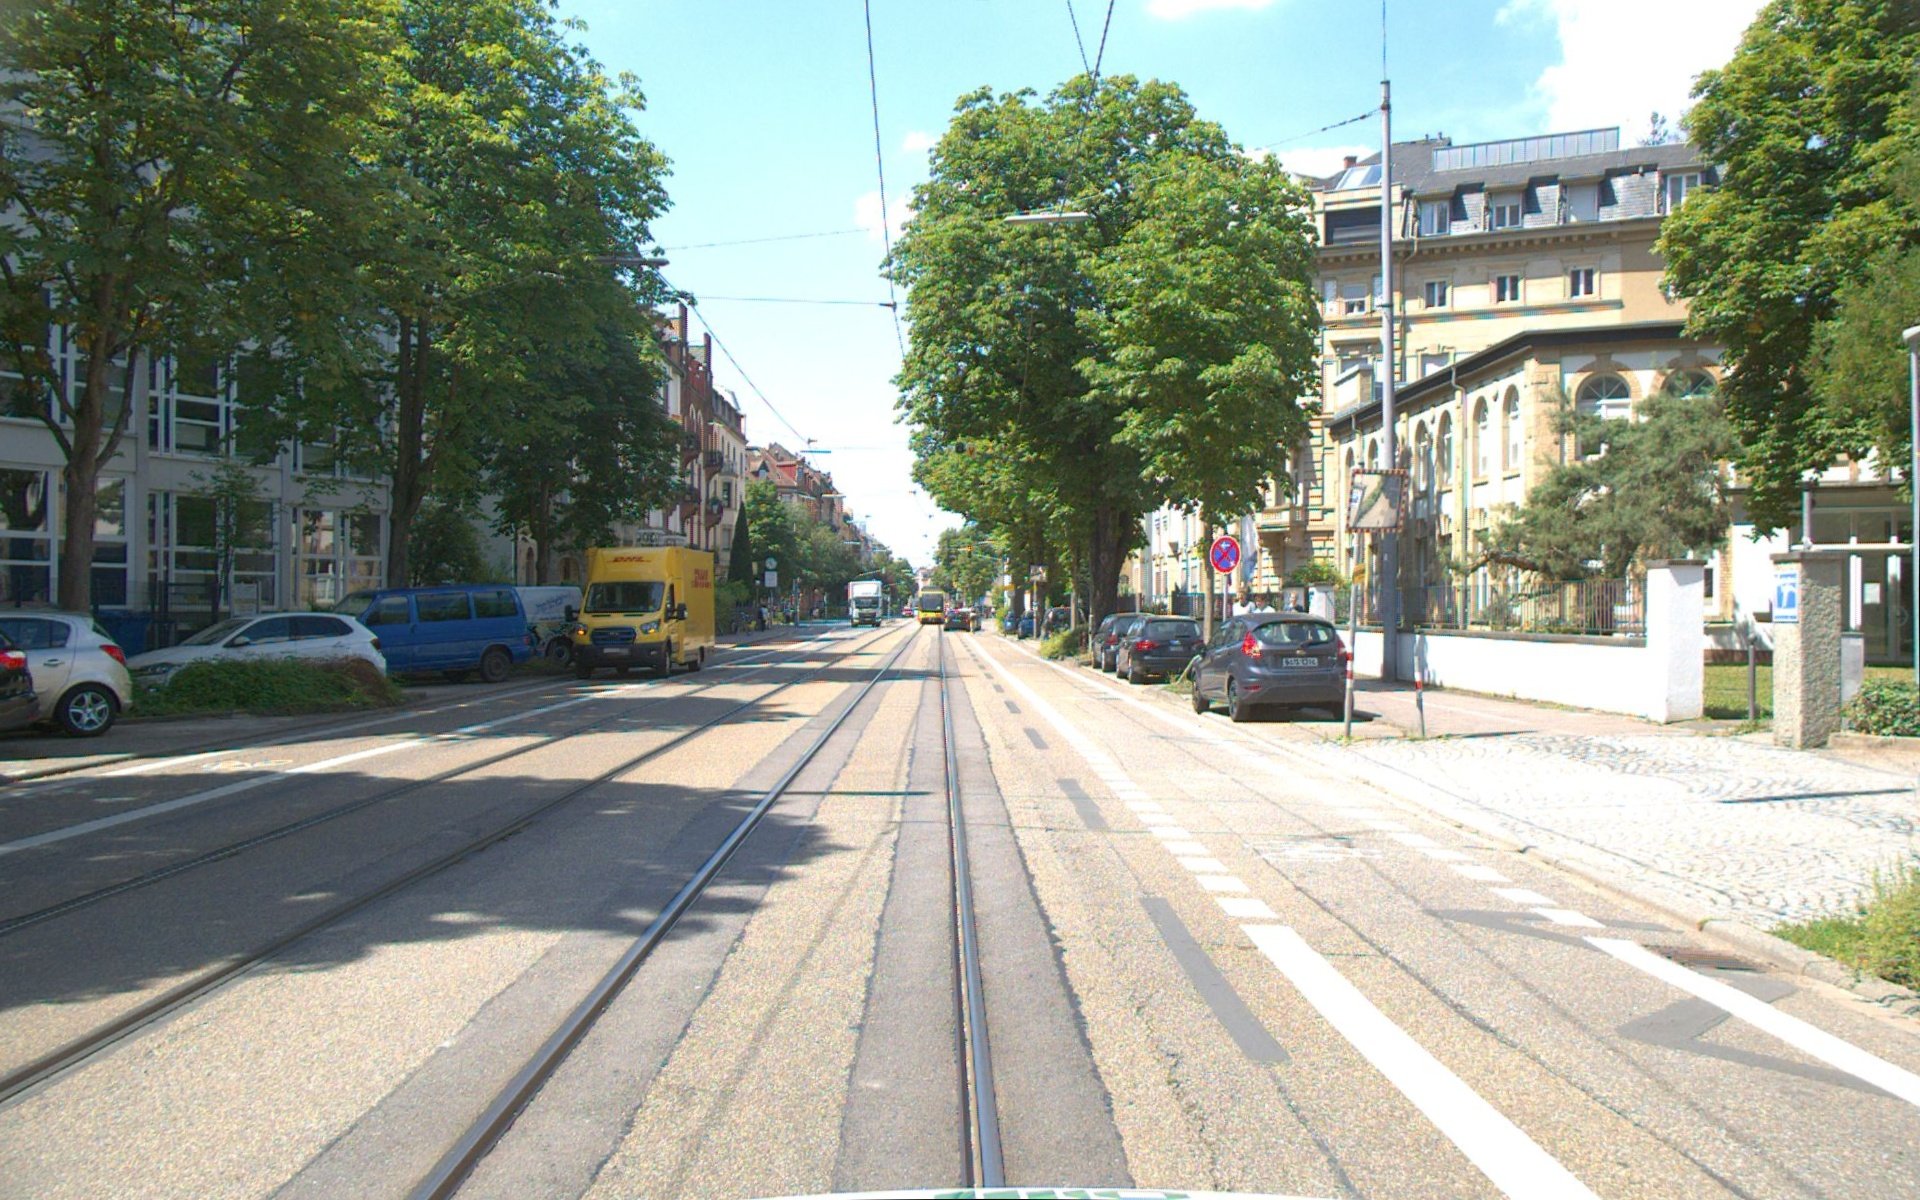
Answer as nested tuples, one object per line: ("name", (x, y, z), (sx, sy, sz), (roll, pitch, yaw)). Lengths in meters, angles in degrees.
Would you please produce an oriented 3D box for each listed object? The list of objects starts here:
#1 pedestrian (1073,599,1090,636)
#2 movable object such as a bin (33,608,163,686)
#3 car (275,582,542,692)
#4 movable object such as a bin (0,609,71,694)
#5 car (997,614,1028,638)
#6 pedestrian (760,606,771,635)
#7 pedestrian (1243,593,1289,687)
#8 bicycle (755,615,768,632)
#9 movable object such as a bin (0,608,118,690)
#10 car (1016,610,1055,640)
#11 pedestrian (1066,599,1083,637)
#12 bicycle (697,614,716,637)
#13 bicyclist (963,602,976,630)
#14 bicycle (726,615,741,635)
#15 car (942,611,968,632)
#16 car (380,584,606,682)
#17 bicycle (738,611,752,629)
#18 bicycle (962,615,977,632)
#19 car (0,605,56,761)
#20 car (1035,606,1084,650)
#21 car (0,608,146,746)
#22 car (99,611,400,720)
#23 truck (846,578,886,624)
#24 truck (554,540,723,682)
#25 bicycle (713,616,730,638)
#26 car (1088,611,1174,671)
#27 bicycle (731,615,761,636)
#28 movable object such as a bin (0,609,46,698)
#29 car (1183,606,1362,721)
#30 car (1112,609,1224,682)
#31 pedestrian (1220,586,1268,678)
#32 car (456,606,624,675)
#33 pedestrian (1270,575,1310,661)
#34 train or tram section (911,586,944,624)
("pedestrian", (6.213, 0.895, 84.882), (0.792, 1.892, 0.623), (0, -2, -3))
("movable object such as a bin", (-16.473, 0.888, 31.666), (1.726, 1.434, 1.424), (-1, 0, -1))
("car", (-10.800, 0.672, 32.650), (1.815, 1.990, 4.701), (-2, 0, 43))
("movable object such as a bin", (-16.671, 0.882, 28.694), (1.726, 1.434, 1.424), (-1, 0, -1))
("car", (3.231, 1.595, 102.491), (1.676, 1.448, 4.308), (-1, -1, -2))
("pedestrian", (-11.058, 1.170, 94.099), (0.561, 1.644, 0.816), (0, -1, 0))
("pedestrian", (6.198, 0.801, 33.525), (0.570, 1.892, 0.717), (0, -1, -37))
("bicycle", (-11.687, 1.380, 97.508), (0.532, 0.986, 1.781), (1, 1, 0))
("movable object such as a bin", (-16.596, 0.884, 30.172), (1.726, 1.434, 1.424), (-1, 0, -1))
("car", (3.829, 1.255, 84.116), (1.676, 1.448, 4.308), (-1, -1, -2))
("pedestrian", (5.751, 0.915, 83.101), (0.792, 1.892, 0.576), (0, -2, -3))
("bicycle", (-11.577, 1.167, 75.471), (0.532, 0.986, 1.989), (1, -2, 0))
("bicyclist", (0.573, 0.990, 99.489), (0.609, 1.644, 0.865), (1, -2, 9))
("bicycle", (-11.871, 1.314, 86.804), (0.532, 0.986, 1.781), (1, 0, 0))
("car", (-0.342, 1.414, 110.105), (1.745, 1.369, 3.415), (0, 0, -1))
("car", (-10.919, 0.734, 38.862), (4.718, 2.098, 1.997), (-1, 0, -40))
("bicycle", (-12.052, 1.095, 92.908), (0.532, 0.986, 1.780), (1, 0, 0))
("bicycle", (0.566, 1.430, 99.423), (0.625, 0.986, 1.782), (1, -2, 8))
("car", (-11.050, 0.865, 16.005), (1.786, 1.533, 3.686), (-2, -1, 43))
("car", (3.878, 1.093, 64.724), (1.560, 1.645, 3.906), (-1, -1, -2))
("car", (-11.417, 0.890, 18.621), (1.732, 1.493, 3.685), (-2, -1, 43))
("car", (-11.078, 0.993, 25.986), (1.730, 1.458, 3.978), (-3, -1, 41))
("truck", (-7.615, 0.086, 134.769), (2.880, 3.612, 8.451), (0, 0, -1))
("truck", (-7.189, 0.220, 37.952), (2.312, 2.902, 7.378), (-1, 0, 1))
("bicycle", (-11.644, 1.310, 80.638), (0.532, 0.986, 1.990), (1, 0, 0))
("car", (4.360, 1.034, 42.751), (1.676, 1.448, 4.242), (-1, -1, -2))
("bicycle", (-10.773, 1.296, 83.430), (0.532, 0.986, 1.778), (0, -2, 29))
("movable object such as a bin", (-16.313, 0.880, 27.251), (1.726, 1.434, 1.424), (-1, 0, -1))
("car", (4.421, 0.873, 23.949), (1.606, 1.511, 3.869), (-1, -1, -4))
("car", (4.490, 0.971, 36.313), (1.838, 1.480, 4.527), (-1, -1, -1))
("pedestrian", (5.894, 0.662, 34.366), (0.570, 1.892, 0.800), (0, -1, -36))
("car", (-10.734, 1.014, 42.431), (1.717, 1.628, 3.893), (-2, 0, 43))
("pedestrian", (6.871, 0.377, 34.426), (0.473, 1.768, 0.612), (-1, -1, -37))
("train or tram section", (-3.014, 0.471, 158.488), (2.973, 3.499, 11.968), (0, 0, 0))
